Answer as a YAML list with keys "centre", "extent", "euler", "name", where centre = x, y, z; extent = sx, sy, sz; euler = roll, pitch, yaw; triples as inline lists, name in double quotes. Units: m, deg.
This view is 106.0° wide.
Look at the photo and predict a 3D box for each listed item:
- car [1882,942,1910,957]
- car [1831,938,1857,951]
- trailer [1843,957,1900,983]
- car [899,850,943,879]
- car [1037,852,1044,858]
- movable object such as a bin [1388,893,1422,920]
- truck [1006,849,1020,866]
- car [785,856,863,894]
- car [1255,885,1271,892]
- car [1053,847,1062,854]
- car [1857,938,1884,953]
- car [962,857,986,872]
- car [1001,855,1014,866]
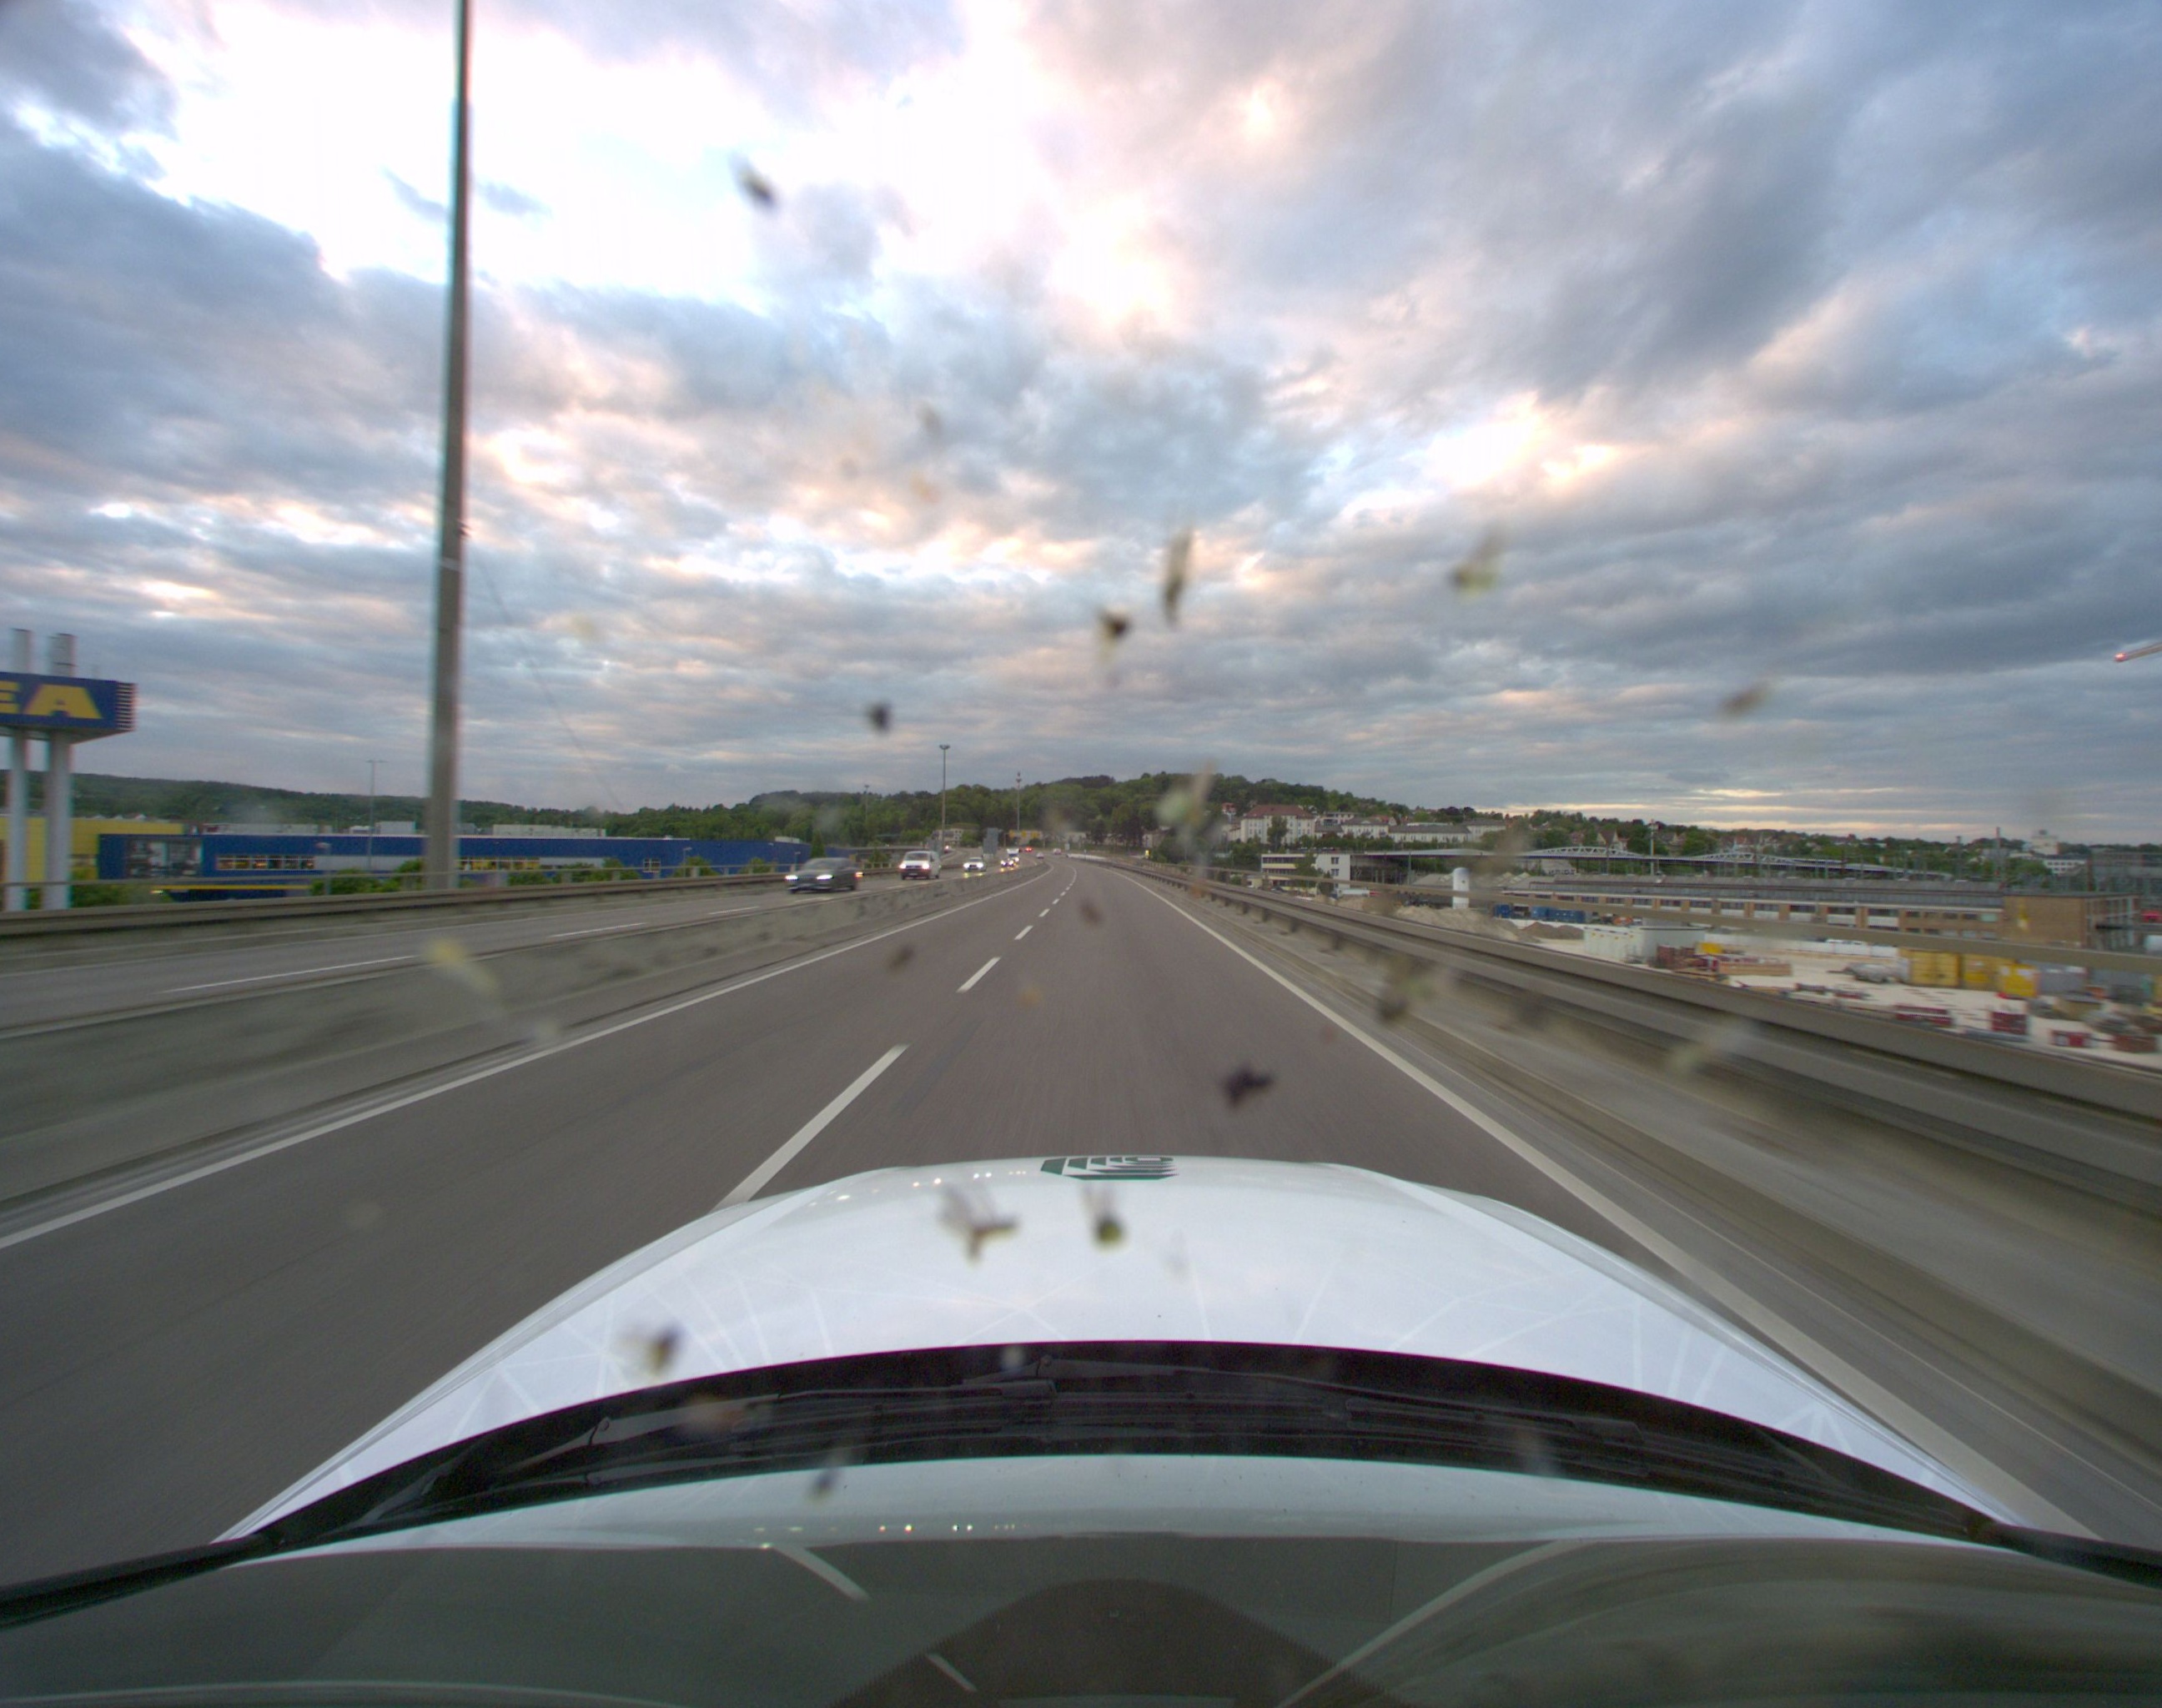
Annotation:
- centre: [113.713, 13.291, 113.599]
  extent: [4.014, 1.651, 1.852]
  euler: [6, 0, -34]
  name: "car"
- centre: [110.944, 13.131, 118.381]
  extent: [4.014, 1.420, 1.852]
  euler: [6, 0, -34]
  name: "car"
- centre: [58.275, 8.562, 60.125]
  extent: [1.762, 1.241, 4.277]
  euler: [2, 0, 27]
  name: "trailer"
- centre: [-10.867, 0.683, 55.665]
  extent: [1.895, 1.900, 5.459]
  euler: [-1, 0, 0]
  name: "car"
- centre: [-11.051, 0.242, 224.298]
  extent: [1.629, 1.388, 3.991]
  euler: [-1, 1, -7]
  name: "car"
- centre: [60.760, 9.818, 152.842]
  extent: [4.952, 4.310, 2.769]
  euler: [6, -1, -17]
  name: "movable object such as a bin"
- centre: [-13.428, 0.630, 161.433]
  extent: [2.529, 3.297, 7.437]
  euler: [0, -1, -3]
  name: "truck"
- centre: [-10.968, 0.845, 35.163]
  extent: [1.822, 1.474, 4.900]
  euler: [0, 1, 0]
  name: "car"
- centre: [50.415, 9.567, 225.417]
  extent: [4.016, 1.565, 1.812]
  euler: [4, 1, -36]
  name: "car"
- centre: [-7.573, -1.028, 258.537]
  extent: [1.997, 2.013, 4.087]
  euler: [0, 2, -15]
  name: "car"
- centre: [112.537, 13.100, 116.058]
  extent: [4.014, 1.714, 1.852]
  euler: [6, 0, -34]
  name: "car"
- centre: [-10.766, 1.036, 82.375]
  extent: [1.825, 1.503, 4.815]
  euler: [-1, 0, 0]
  name: "car"
- centre: [-10.433, 0.956, 115.470]
  extent: [1.624, 1.441, 3.834]
  euler: [-1, 1, -1]
  name: "car"
